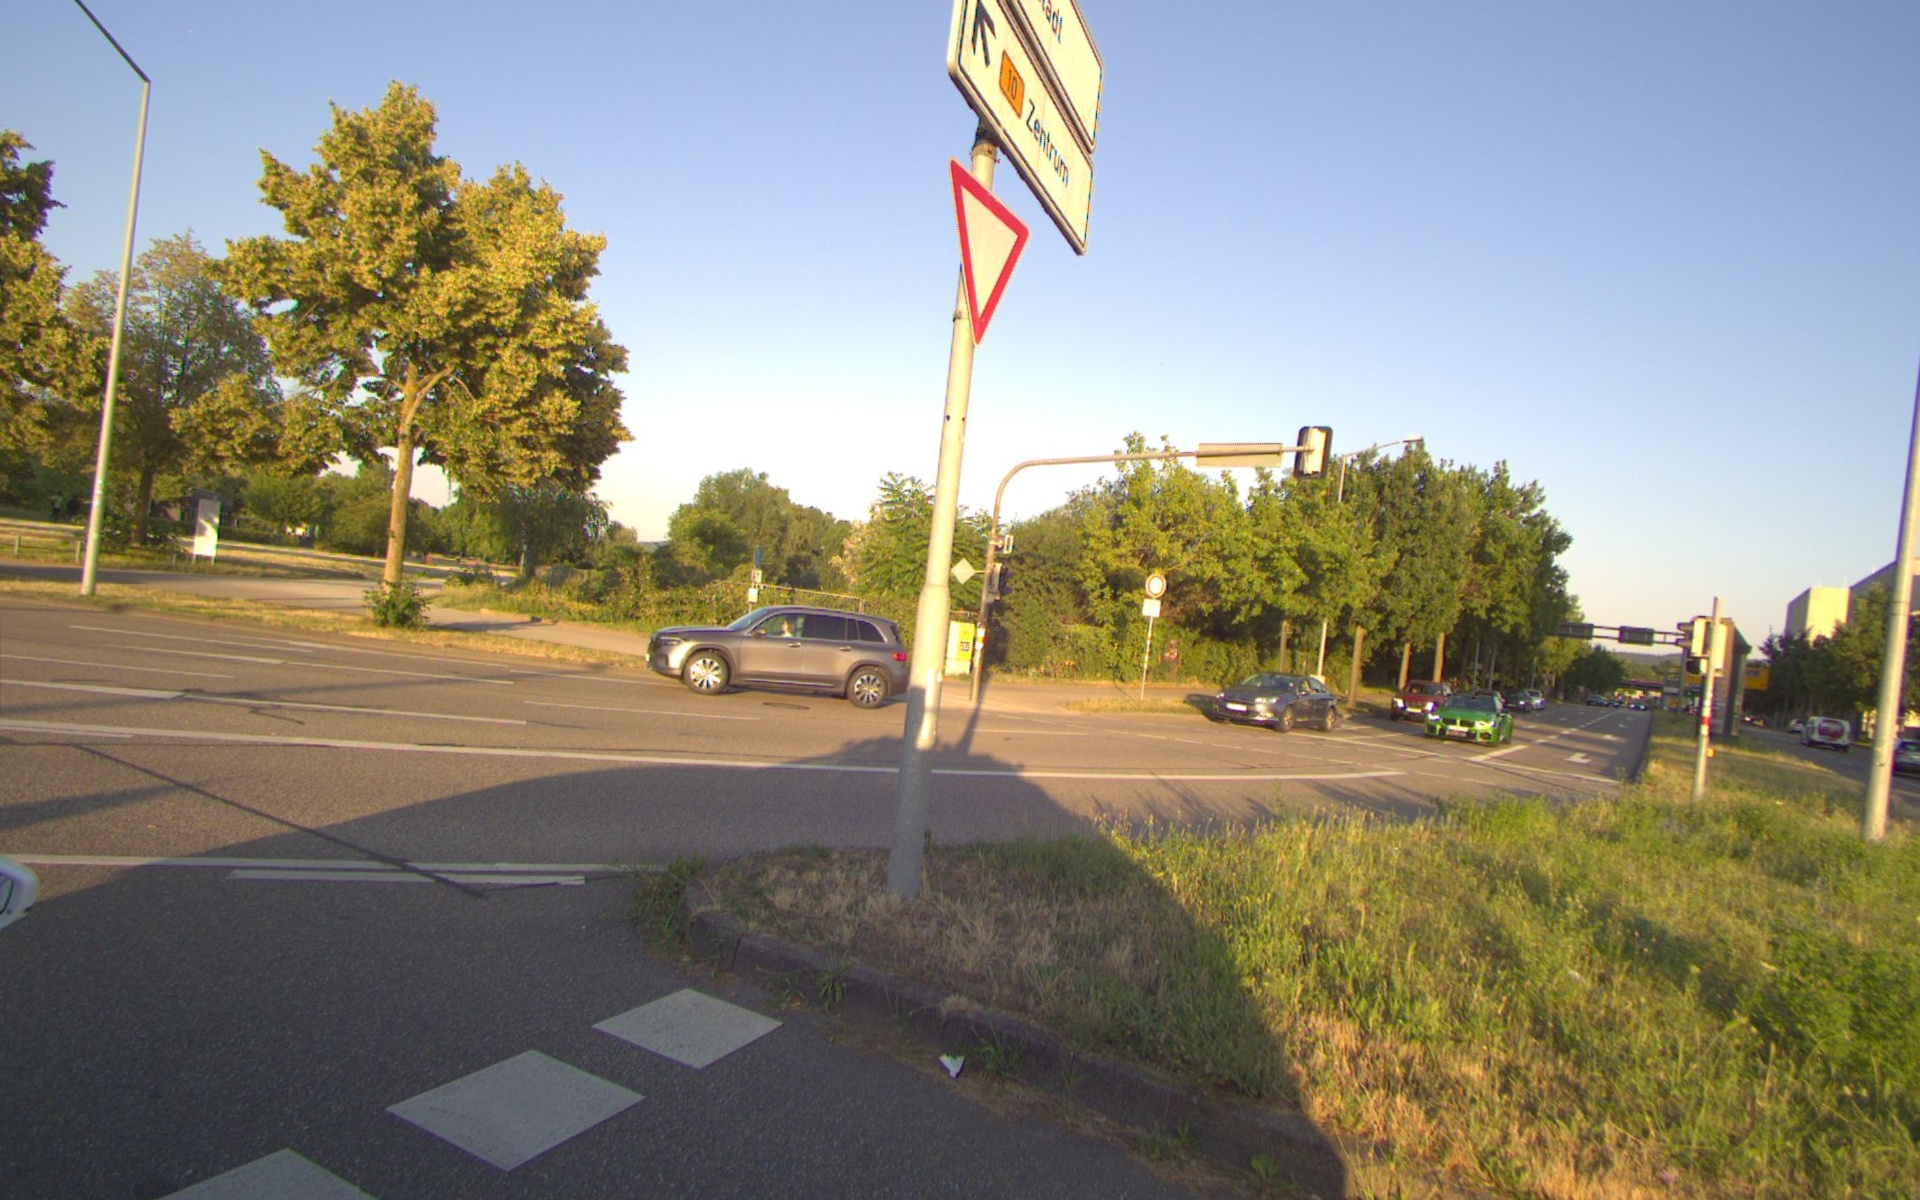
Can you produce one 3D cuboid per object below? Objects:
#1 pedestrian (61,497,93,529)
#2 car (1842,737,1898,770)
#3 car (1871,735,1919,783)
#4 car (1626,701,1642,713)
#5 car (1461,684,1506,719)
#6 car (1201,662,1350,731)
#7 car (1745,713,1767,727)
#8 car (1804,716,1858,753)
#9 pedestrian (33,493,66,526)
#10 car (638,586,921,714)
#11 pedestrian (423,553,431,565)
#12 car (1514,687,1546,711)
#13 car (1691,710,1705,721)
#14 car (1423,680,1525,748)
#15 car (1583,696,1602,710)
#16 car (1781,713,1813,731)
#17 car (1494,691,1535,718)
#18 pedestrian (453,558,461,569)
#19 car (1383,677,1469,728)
[{"bbox_3d":[-49.832,-4.918,56.789,0.896,1.637,1.070,7,0,34],"label":"pedestrian"},{"bbox_3d":[51.900,8.713,57.456,1.971,1.425,4.509,7,-1,39],"label":"car"},{"bbox_3d":[39.541,6.639,41.705,1.969,1.648,3.989,7,-1,35],"label":"car"},{"bbox_3d":[106.994,16.941,159.695,1.969,1.523,4.758,7,-1,35],"label":"car"},{"bbox_3d":[28.960,5.574,55.625,1.836,1.408,4.154,11,3,30],"label":"car"},{"bbox_3d":[8.224,2.529,25.954,1.862,1.481,4.649,3,-3,42],"label":"car"},{"bbox_3d":[114.615,17.282,144.919,1.968,1.593,3.991,7,-1,33],"label":"car"},{"bbox_3d":[55.229,8.490,63.885,2.037,1.970,4.945,7,-1,37],"label":"car"},{"bbox_3d":[-50.758,-5.056,56.064,0.896,1.637,1.070,7,0,34],"label":"pedestrian"},{"bbox_3d":[-3.200,0.873,17.756,4.466,1.657,1.990,8,-1,-23],"label":"car"},{"bbox_3d":[-81.438,-6.258,153.575,0.846,1.681,0.970,7,0,-33],"label":"pedestrian"},{"bbox_3d":[41.969,7.267,74.131,1.836,1.471,3.966,7,-1,29],"label":"car"},{"bbox_3d":[142.573,22.328,194.455,1.969,1.804,3.988,7,-1,37],"label":"car"},{"bbox_3d":[15.087,3.299,29.403,1.969,1.598,4.474,6,-1,35],"label":"car"},{"bbox_3d":[86.719,14.090,137.895,1.886,1.602,4.169,7,-1,36],"label":"car"},{"bbox_3d":[84.075,12.221,101.058,1.969,1.527,5.171,7,-1,36],"label":"car"},{"bbox_3d":[36.676,6.902,66.474,1.838,1.471,4.152,7,-1,35],"label":"car"},{"bbox_3d":[-80.434,-5.834,160.933,0.841,1.681,0.975,7,0,-16],"label":"pedestrian"},{"bbox_3d":[17.967,3.961,38.704,1.970,1.592,4.401,7,-1,37],"label":"car"}]
